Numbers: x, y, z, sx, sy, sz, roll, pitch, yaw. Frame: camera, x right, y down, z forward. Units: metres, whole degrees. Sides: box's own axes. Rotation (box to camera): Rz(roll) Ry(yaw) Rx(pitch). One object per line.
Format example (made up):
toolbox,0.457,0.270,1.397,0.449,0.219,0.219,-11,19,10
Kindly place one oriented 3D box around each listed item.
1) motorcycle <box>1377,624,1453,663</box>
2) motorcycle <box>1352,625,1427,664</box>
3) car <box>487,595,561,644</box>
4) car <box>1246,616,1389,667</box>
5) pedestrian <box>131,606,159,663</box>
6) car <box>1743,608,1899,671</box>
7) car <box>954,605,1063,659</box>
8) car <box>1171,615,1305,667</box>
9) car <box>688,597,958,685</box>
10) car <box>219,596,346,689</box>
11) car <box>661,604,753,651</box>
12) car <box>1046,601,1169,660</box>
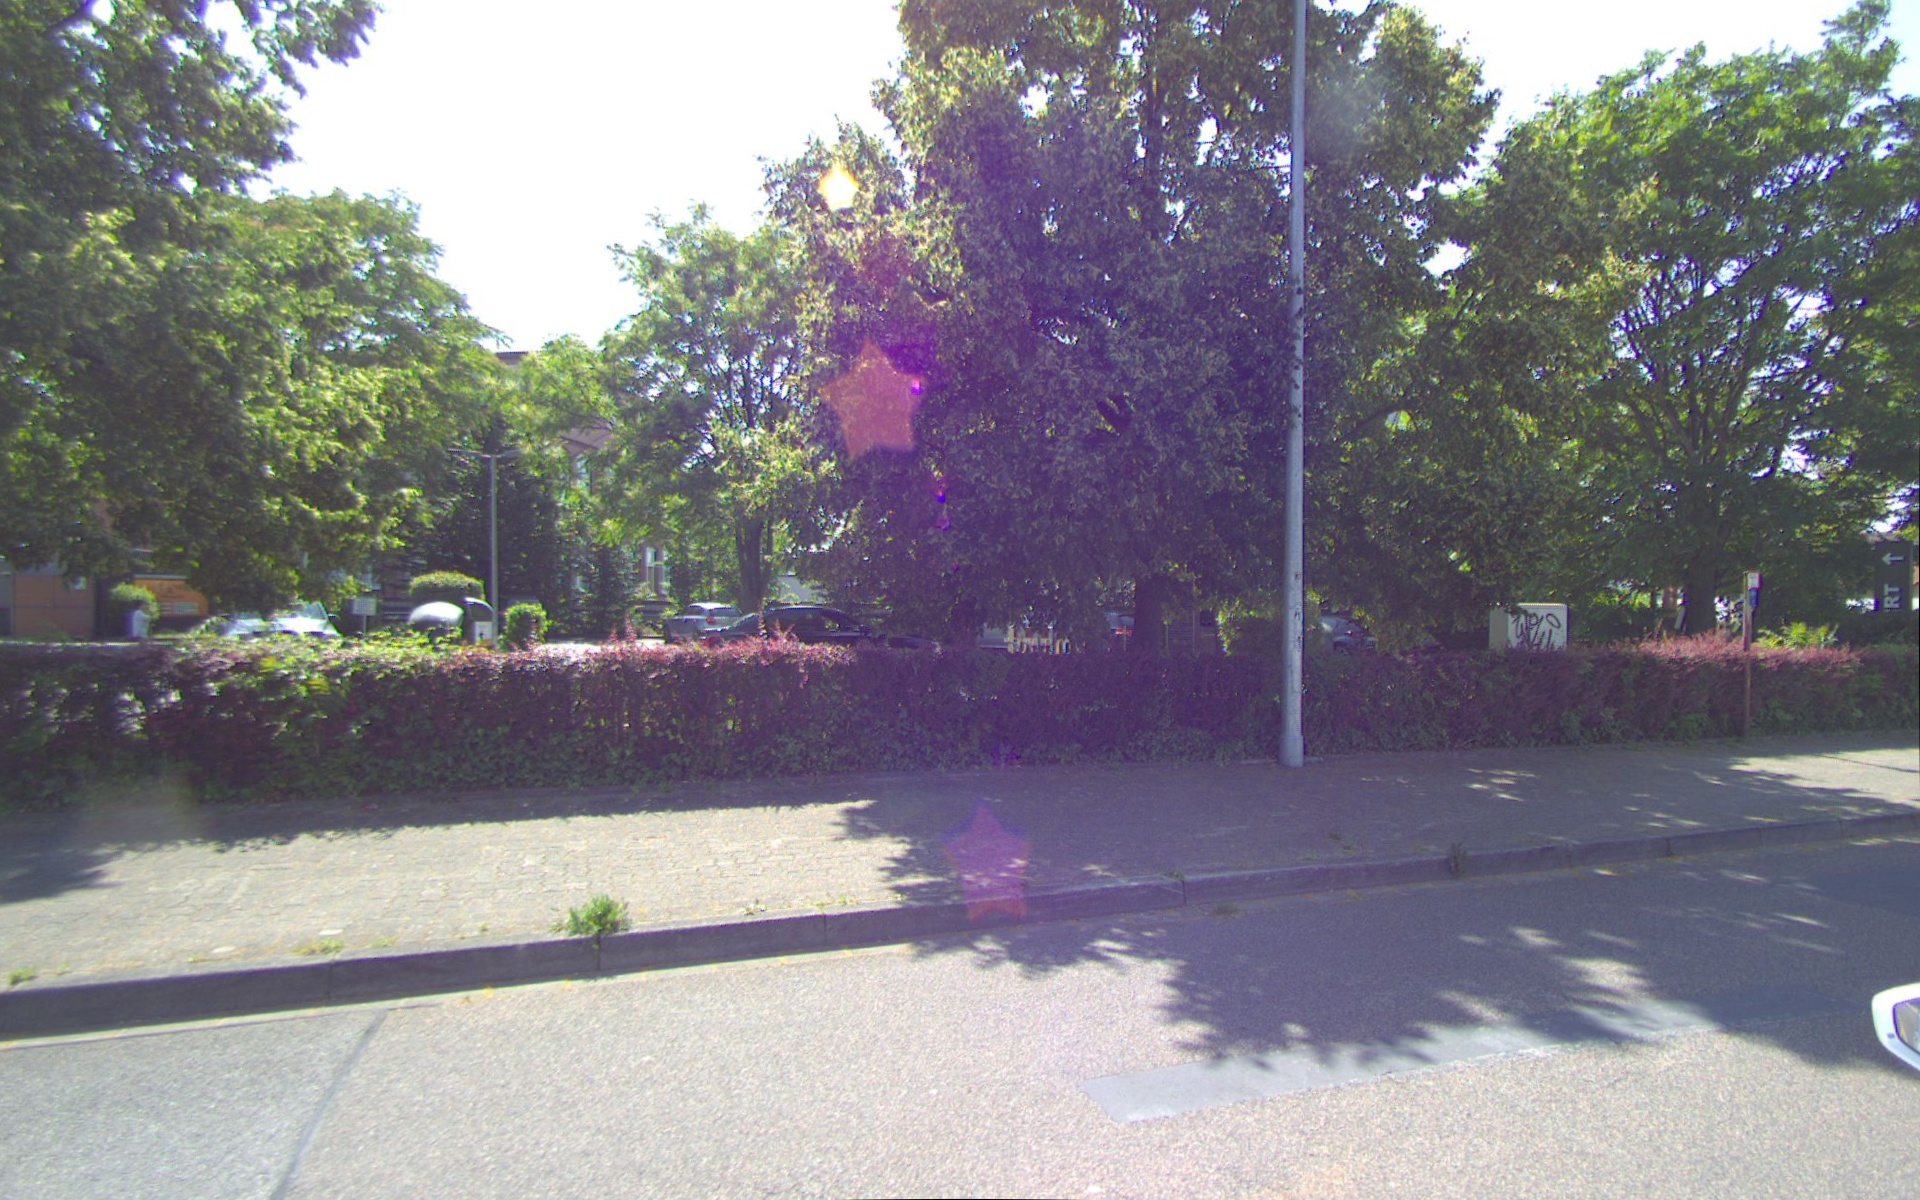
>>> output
motorcycle,14.746,1.404,32.618,2.151,1.147,0.567,2,1,41
motorcycle,13.843,1.411,32.430,2.151,1.131,0.567,2,1,41
car,-15.592,0.671,35.816,1.800,1.598,3.834,1,0,-33
car,11.299,1.271,31.971,1.751,1.406,4.057,1,0,-33
pedestrian,-21.956,0.928,27.061,0.489,1.480,0.547,1,2,-31
car,28.887,1.392,33.921,1.854,1.945,4.530,-2,-4,10
car,1.549,1.030,33.288,1.627,1.609,3.812,1,0,-35
car,8.696,1.257,31.709,1.610,1.414,4.033,1,0,-33
car,-2.710,0.801,19.835,4.954,1.581,2.065,2,-1,-20
car,-13.471,0.765,19.882,1.888,1.604,3.770,1,0,-37
car,-8.772,0.909,34.616,1.776,1.470,4.008,1,0,-35
car,4.765,0.965,32.990,1.783,1.755,3.986,1,0,-33
